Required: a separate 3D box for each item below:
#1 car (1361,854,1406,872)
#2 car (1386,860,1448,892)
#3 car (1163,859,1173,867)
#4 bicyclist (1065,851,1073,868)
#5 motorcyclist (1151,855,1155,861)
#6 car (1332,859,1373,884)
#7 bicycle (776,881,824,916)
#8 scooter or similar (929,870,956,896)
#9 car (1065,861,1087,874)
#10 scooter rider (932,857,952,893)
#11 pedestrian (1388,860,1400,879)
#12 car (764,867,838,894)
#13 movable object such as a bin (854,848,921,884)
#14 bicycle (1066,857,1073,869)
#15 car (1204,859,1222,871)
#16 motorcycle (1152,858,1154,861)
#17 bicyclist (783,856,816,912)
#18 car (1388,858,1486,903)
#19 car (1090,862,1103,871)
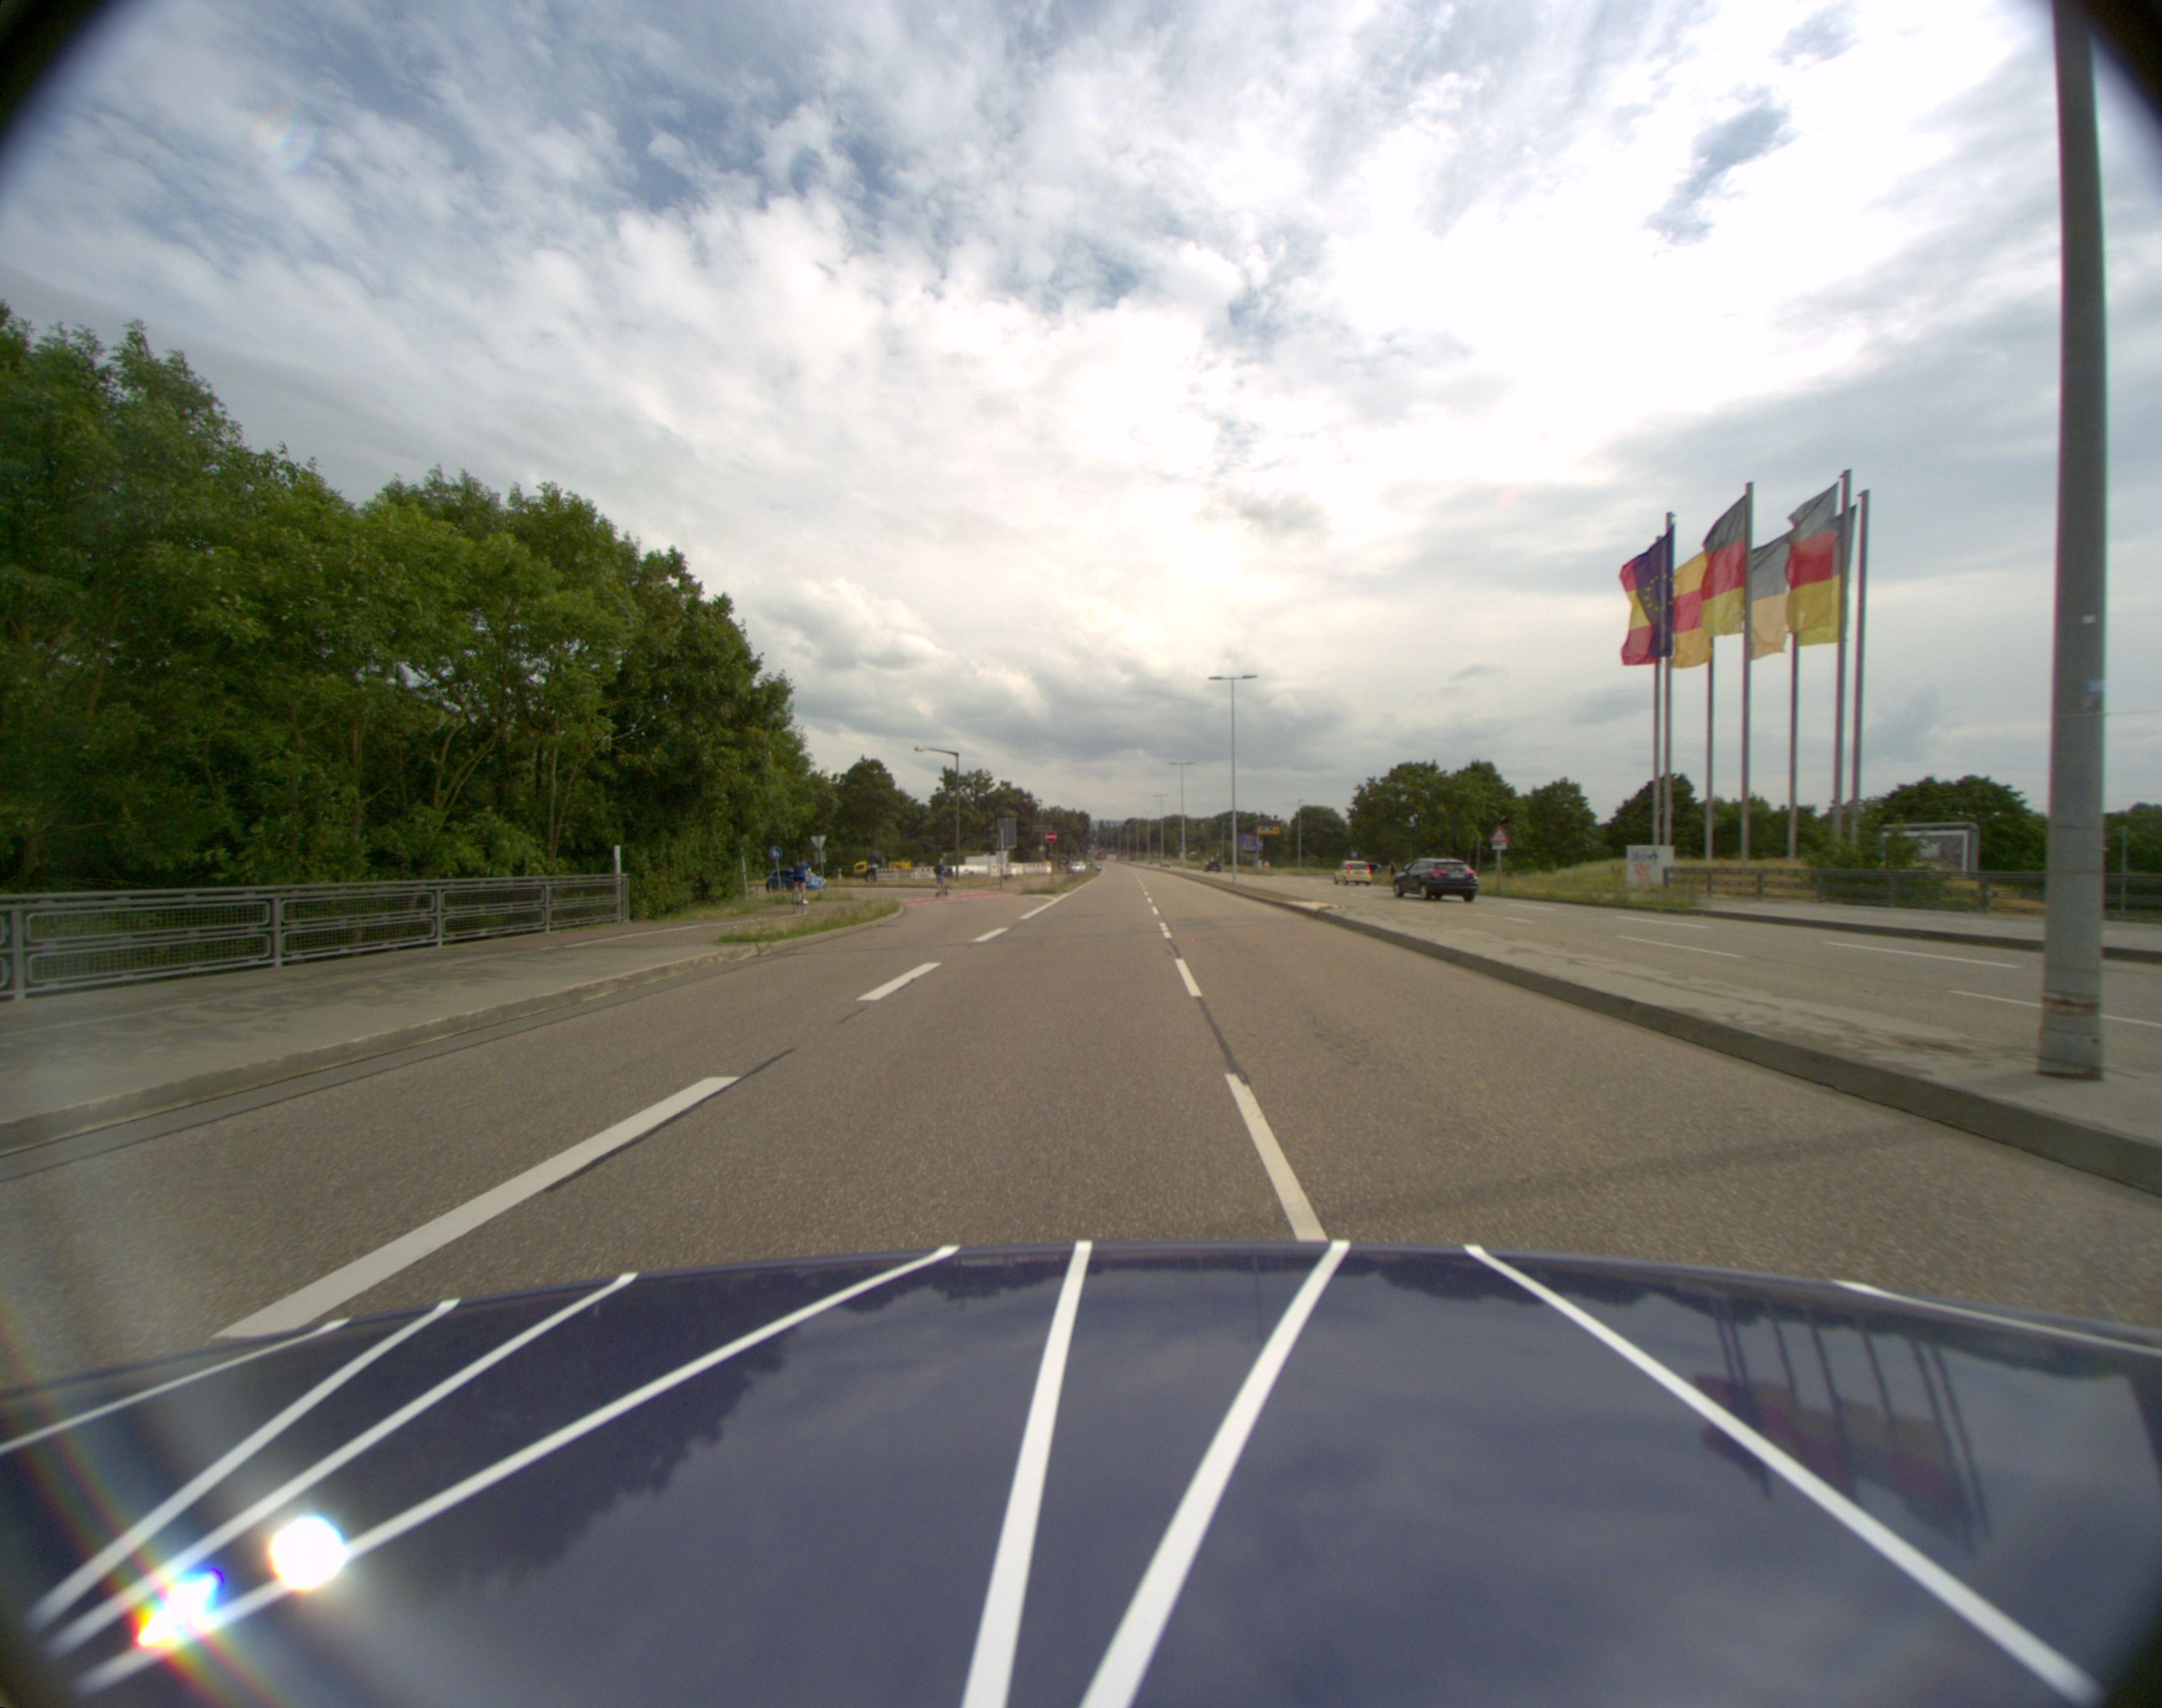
[{"bbox_3d":[35.581,1.066,89.347,5.515,1.882,1.848,3,0,-30],"label":"car"},{"bbox_3d":[17.082,1.079,38.828,1.653,1.506,4.018,1,-1,5],"label":"car"},{"bbox_3d":[19.270,1.959,168.023,1.851,1.591,4.562,0,-1,3],"label":"car"},{"bbox_3d":[-1.155,0.544,73.969,0.653,1.648,0.876,-1,1,0],"label":"bicyclist"},{"bbox_3d":[19.320,1.006,203.668,0.772,1.578,0.896,1,0,2],"label":"motorcyclist"},{"bbox_3d":[17.466,1.104,49.024,1.552,1.568,3.692,1,-1,3],"label":"car"},{"bbox_3d":[-8.595,1.359,23.325,0.578,1.015,1.977,2,-2,3],"label":"bicycle"},{"bbox_3d":[-6.722,1.411,36.874,0.588,1.217,1.205,-1,1,37],"label":"scooter or similar"},{"bbox_3d":[-0.592,1.683,94.368,1.850,1.493,4.003,-3,0,10],"label":"car"},{"bbox_3d":[-6.742,1.005,36.859,0.587,1.680,0.745,-1,1,36],"label":"scooter rider"},{"bbox_3d":[27.918,1.375,67.825,0.866,1.683,0.680,1,0,29],"label":"pedestrian"},{"bbox_3d":[-16.762,1.586,45.429,3.990,1.509,1.883,-1,0,27],"label":"car"},{"bbox_3d":[-14.863,0.908,58.487,4.510,2.673,2.103,-1,0,8],"label":"movable object such as a bin"},{"bbox_3d":[-1.141,0.869,74.013,0.575,1.141,1.982,1,-1,1],"label":"bicycle"},{"bbox_3d":[16.707,1.417,96.321,1.767,1.432,4.178,1,-1,3],"label":"car"},{"bbox_3d":[19.298,1.445,203.596,0.524,0.961,2.220,0,-1,2],"label":"motorcycle"},{"bbox_3d":[-8.596,0.915,23.208,0.666,1.649,0.806,-1,-2,3],"label":"bicyclist"},{"bbox_3d":[13.378,0.952,28.826,1.743,1.507,4.316,1,0,1],"label":"car"},{"bbox_3d":[2.356,1.881,115.027,1.773,1.439,4.324,0,0,-1],"label":"car"}]
